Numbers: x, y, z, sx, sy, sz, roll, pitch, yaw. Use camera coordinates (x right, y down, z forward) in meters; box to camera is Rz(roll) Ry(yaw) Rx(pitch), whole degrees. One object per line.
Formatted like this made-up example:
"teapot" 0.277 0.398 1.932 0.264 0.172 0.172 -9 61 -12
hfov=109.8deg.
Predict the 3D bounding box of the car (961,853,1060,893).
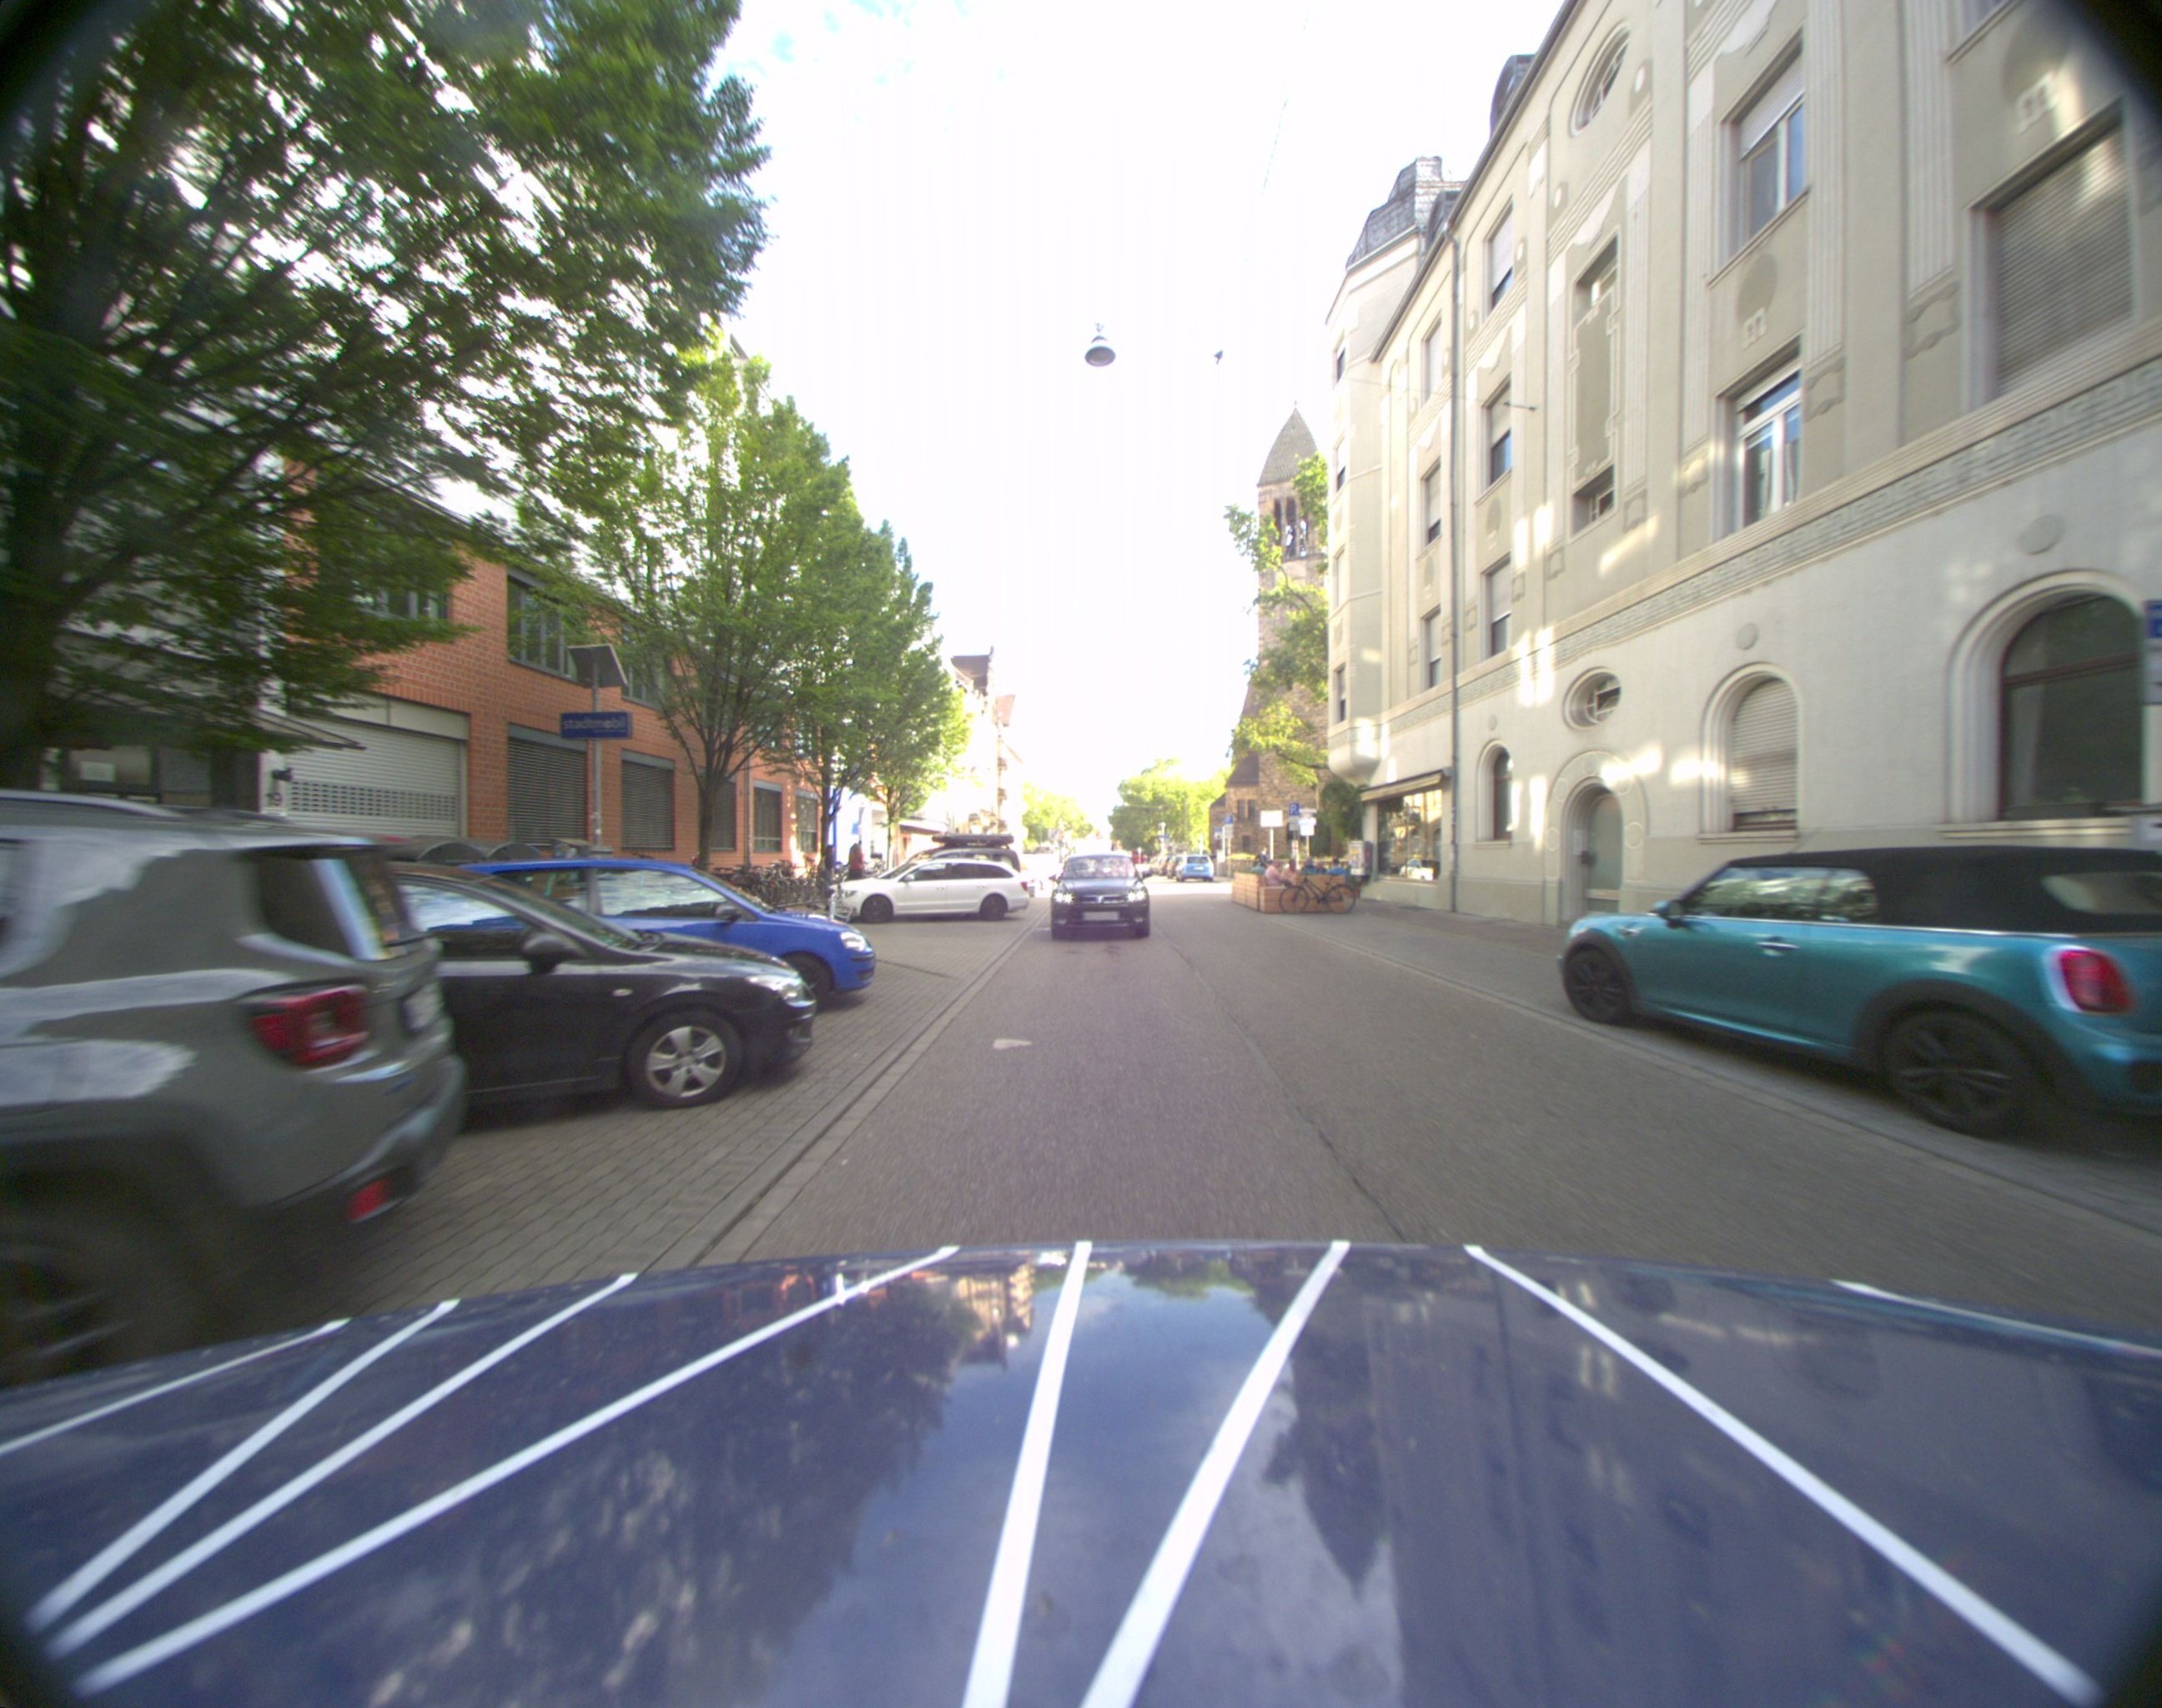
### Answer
"car" -3.165 0.820 34.347 4.006 1.663 1.923 -2 0 -30

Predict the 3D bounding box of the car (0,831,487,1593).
"car" -3.996 0.797 1.741 4.007 1.689 1.848 0 -1 -33

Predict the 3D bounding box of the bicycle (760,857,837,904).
"bicycle" -7.934 0.726 21.383 1.896 1.198 0.618 3 1 -1

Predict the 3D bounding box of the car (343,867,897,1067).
"car" -3.958 0.890 7.209 4.006 1.430 1.721 2 0 -26

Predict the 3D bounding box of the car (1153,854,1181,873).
"car" 6.836 0.702 60.833 1.911 1.412 4.000 -1 0 1

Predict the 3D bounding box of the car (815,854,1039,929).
"car" -3.596 0.852 18.025 4.816 1.535 1.866 2 1 -31

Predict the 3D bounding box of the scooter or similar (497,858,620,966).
"scooter or similar" -7.134 0.755 10.436 0.524 1.372 1.323 -1 1 16

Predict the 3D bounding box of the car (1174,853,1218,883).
"car" 6.219 0.717 41.541 1.828 1.477 4.170 -1 0 1

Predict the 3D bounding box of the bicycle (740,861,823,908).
"bicycle" -7.910 0.801 20.109 1.896 1.113 0.618 3 1 -1

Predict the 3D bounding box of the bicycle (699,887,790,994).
"bicycle" -4.345 1.058 9.761 0.450 1.146 1.781 -2 3 -45

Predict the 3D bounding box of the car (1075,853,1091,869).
"car" 0.293 0.831 96.039 1.810 1.914 4.001 -2 0 3

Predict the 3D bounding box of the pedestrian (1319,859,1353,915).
"pedestrian" 6.335 0.813 18.907 0.637 1.364 0.684 -1 1 5

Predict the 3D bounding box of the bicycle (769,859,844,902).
"bicycle" -7.944 0.767 22.016 1.896 1.106 0.618 3 1 -1

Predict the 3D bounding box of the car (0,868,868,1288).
"car" -3.635 0.923 4.562 4.133 1.512 1.840 -2 1 -35

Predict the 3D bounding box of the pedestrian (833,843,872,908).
"pedestrian" -6.281 0.583 20.934 0.754 1.728 0.952 3 0 -3

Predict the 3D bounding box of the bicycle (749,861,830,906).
"bicycle" -7.937 0.805 20.742 1.896 1.096 0.618 3 1 -1

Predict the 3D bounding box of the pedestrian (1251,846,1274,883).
"pedestrian" 8.630 0.498 36.172 0.845 1.699 0.879 -1 1 2

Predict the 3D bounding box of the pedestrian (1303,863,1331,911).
"pedestrian" 6.300 0.863 20.281 0.597 1.236 0.694 -1 1 8

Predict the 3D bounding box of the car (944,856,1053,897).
"car" -3.414 0.906 31.657 4.006 1.499 1.995 -2 0 -30

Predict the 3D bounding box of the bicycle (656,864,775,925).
"bicycle" -7.532 0.825 15.720 2.025 1.089 0.820 4 1 1

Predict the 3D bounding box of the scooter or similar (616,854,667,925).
"scooter or similar" -8.792 0.687 15.180 0.526 1.306 1.317 3 1 -43

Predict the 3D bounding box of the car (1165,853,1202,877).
"car" 6.380 0.657 47.660 1.911 1.412 4.000 -1 0 1

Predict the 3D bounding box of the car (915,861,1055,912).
"car" -2.971 0.959 23.729 4.006 1.391 1.657 -2 0 -30

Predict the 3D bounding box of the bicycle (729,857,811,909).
"bicycle" -7.948 0.734 19.473 1.782 1.198 0.618 3 1 -1

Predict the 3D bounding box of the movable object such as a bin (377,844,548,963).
"movable object such as a bin" -8.405 0.646 10.396 1.375 1.438 1.037 5 0 -1

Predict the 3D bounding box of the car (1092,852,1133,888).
"car" 1.546 0.749 37.021 1.810 1.622 4.001 -2 0 3

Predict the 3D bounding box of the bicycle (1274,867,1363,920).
"bicycle" 5.590 0.928 17.948 1.872 1.168 0.688 -1 1 3

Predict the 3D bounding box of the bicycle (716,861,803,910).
"bicycle" -7.970 0.784 18.875 1.887 1.112 0.537 2 1 -1

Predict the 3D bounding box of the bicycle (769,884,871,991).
"bicycle" -3.463 1.035 10.005 0.703 1.205 1.744 -2 1 -38

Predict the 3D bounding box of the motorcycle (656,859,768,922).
"motorcycle" -8.006 0.772 16.543 1.984 1.220 0.827 3 1 0

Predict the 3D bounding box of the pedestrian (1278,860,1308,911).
"pedestrian" 5.682 0.832 20.405 0.668 1.328 0.740 -1 1 8

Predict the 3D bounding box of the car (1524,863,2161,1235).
"car" 5.038 0.817 5.106 1.674 1.407 4.011 -1 0 -2

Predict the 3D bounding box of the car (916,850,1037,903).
"car" -3.896 0.797 28.340 4.006 1.751 1.908 -2 0 -30

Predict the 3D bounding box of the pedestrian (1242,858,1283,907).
"pedestrian" 5.292 0.832 22.221 1.088 1.365 0.895 -1 1 10

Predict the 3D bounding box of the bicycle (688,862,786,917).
"bicycle" -7.915 0.811 17.533 1.921 1.134 0.618 3 1 -1

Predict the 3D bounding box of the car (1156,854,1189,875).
"car" 6.469 0.715 54.066 1.911 1.412 4.000 -1 0 1

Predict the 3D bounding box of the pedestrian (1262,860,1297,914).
"pedestrian" 5.119 0.843 19.623 0.738 1.341 0.644 -1 1 4

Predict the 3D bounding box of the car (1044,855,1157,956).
"car" 0.527 0.868 14.938 1.874 1.644 4.388 -1 0 5

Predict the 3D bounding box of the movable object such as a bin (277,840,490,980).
"movable object such as a bin" -8.430 0.643 9.272 1.375 1.451 1.164 7 0 -1

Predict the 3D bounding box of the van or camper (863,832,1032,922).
"van or camper" -3.605 0.549 20.566 4.006 2.166 1.995 -2 1 -29

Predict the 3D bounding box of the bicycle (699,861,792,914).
"bicycle" -8.045 0.797 18.273 1.896 1.125 0.618 3 1 -1

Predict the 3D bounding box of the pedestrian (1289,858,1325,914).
"pedestrian" 5.650 0.788 19.012 0.689 1.365 0.739 -1 1 5
